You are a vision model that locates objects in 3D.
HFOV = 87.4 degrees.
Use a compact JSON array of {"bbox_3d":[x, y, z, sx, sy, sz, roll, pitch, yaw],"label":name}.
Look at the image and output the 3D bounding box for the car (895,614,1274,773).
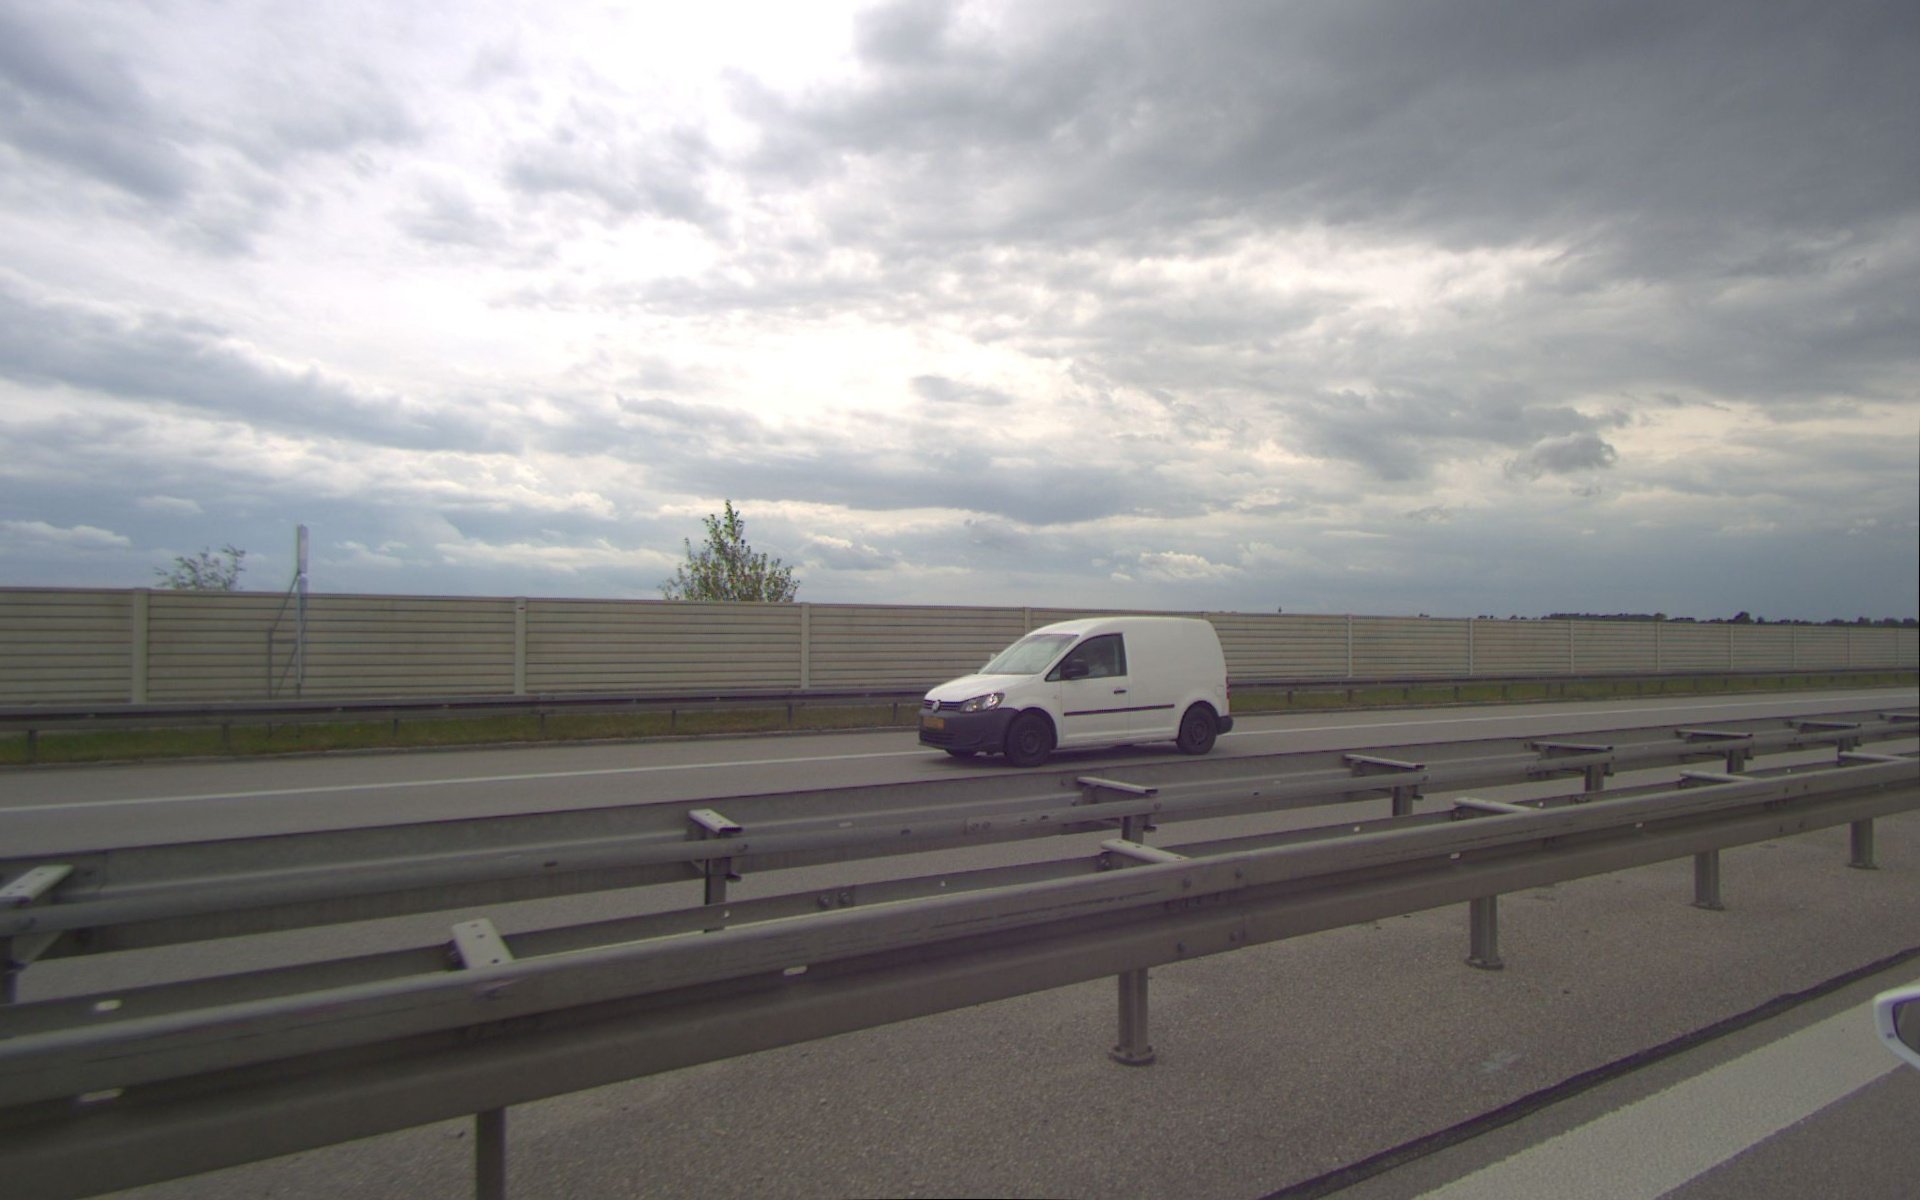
[{"bbox_3d":[1.707,1.144,13.179,4.855,1.764,1.748,1,-5,-30],"label":"car"}]
